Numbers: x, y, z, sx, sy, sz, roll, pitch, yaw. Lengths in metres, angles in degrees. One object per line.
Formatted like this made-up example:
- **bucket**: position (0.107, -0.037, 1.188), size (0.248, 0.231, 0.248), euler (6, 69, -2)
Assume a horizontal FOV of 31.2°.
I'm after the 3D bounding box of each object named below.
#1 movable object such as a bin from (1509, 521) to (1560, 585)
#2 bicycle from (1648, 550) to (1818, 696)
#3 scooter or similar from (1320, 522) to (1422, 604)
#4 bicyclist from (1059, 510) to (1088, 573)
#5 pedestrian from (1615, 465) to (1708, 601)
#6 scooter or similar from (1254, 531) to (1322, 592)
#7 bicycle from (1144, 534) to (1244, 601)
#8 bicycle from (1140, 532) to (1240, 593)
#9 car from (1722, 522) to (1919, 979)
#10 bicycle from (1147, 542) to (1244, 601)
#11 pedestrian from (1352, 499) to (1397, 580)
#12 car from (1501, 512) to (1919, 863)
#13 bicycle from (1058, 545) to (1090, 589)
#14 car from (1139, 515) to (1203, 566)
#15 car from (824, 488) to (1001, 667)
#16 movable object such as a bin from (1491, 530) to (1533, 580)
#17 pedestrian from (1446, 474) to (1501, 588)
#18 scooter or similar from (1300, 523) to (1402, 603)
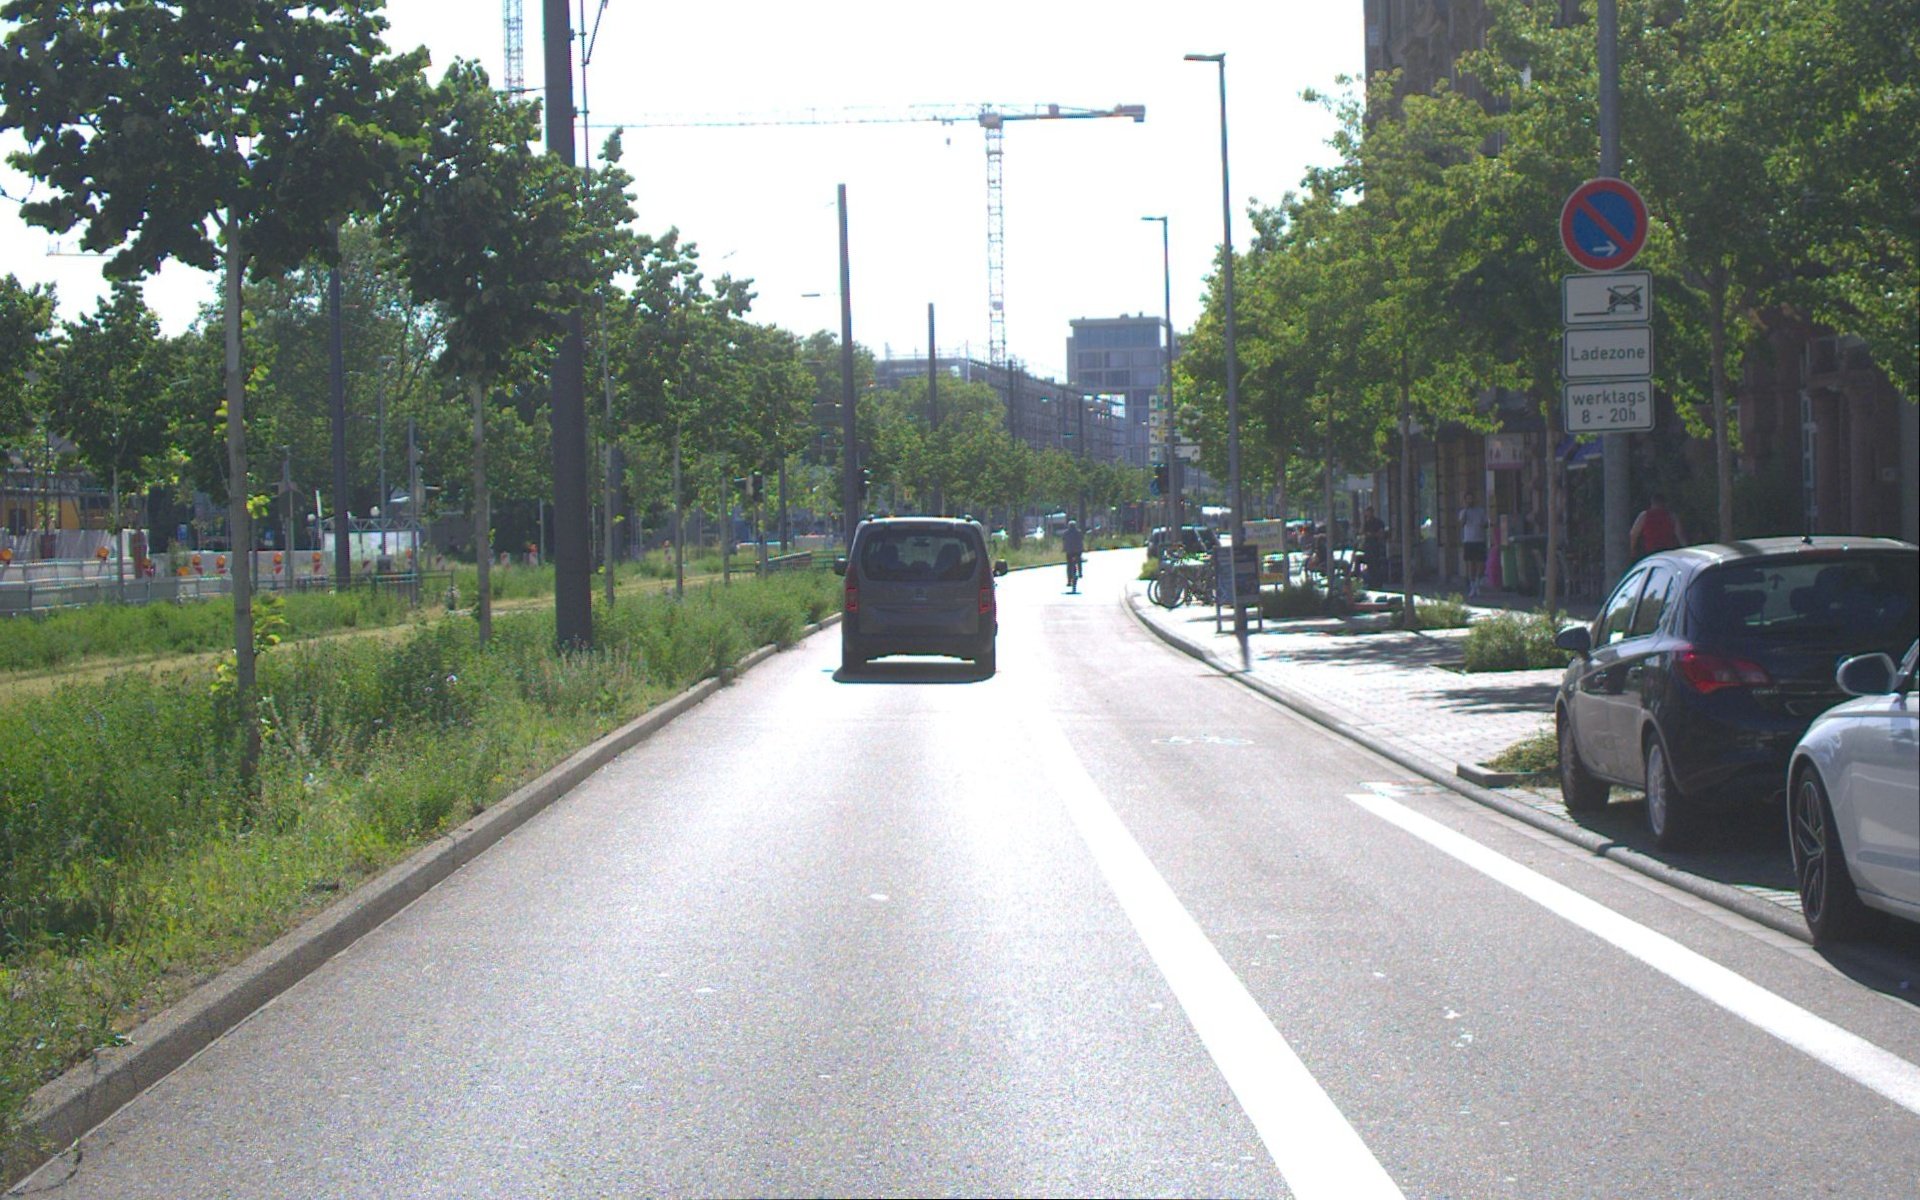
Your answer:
- **movable object such as a bin**: position (10.114, -0.831, 60.539), size (0.725, 1.094, 0.748), euler (-1, 1, -5)
- **bicycle**: position (6.278, 0.170, 28.026), size (0.650, 1.116, 2.173), euler (-3, 1, -6)
- **scooter or similar**: position (6.597, -0.600, 55.184), size (1.473, 1.212, 0.602), euler (-3, 2, -4)
- **bicyclist**: position (2.872, -1.486, 86.983), size (0.683, 1.579, 0.840), euler (-1, 1, -1)
- **pedestrian**: position (8.957, -0.854, 43.933), size (0.996, 1.725, 0.866), euler (0, 0, -1)
- **scooter or similar**: position (6.285, -0.738, 65.928), size (1.220, 1.102, 0.783), euler (-2, 2, 3)
- **bicycle**: position (4.681, -0.653, 68.786), size (1.878, 1.229, 0.500), euler (-4, 1, -5)
- **bicycle**: position (4.805, -0.781, 71.836), size (1.915, 1.117, 0.665), euler (-4, 1, -6)
- **car**: position (4.117, 0.462, 11.424), size (1.951, 1.490, 5.105), euler (-3, 1, 0)
- **bicycle**: position (4.807, -0.592, 70.321), size (1.824, 1.075, 0.665), euler (-4, 1, -6)
- **pedestrian**: position (9.072, -1.313, 75.263), size (0.844, 1.736, 0.886), euler (-2, 0, 1)
- **car**: position (4.203, 0.369, 18.159), size (1.884, 1.564, 4.221), euler (-3, 1, -1)
- **bicycle**: position (2.888, -0.836, 87.008), size (0.701, 1.087, 2.277), euler (-1, 1, -1)
- **car**: position (6.832, -1.903, 110.945), size (1.989, 1.632, 4.189), euler (0, 1, 5)
- **car**: position (-0.531, -0.270, 40.669), size (1.993, 2.007, 4.000), euler (0, 1, 0)
- **movable object such as a bin**: position (10.239, -0.833, 63.780), size (0.604, 0.913, 0.650), euler (-1, 1, -5)
- **pedestrian**: position (9.247, -1.241, 61.947), size (0.817, 2.007, 1.046), euler (0, -1, 0)
- **scooter or similar**: position (6.356, -0.606, 55.942), size (1.473, 1.212, 0.602), euler (-4, 2, -10)
